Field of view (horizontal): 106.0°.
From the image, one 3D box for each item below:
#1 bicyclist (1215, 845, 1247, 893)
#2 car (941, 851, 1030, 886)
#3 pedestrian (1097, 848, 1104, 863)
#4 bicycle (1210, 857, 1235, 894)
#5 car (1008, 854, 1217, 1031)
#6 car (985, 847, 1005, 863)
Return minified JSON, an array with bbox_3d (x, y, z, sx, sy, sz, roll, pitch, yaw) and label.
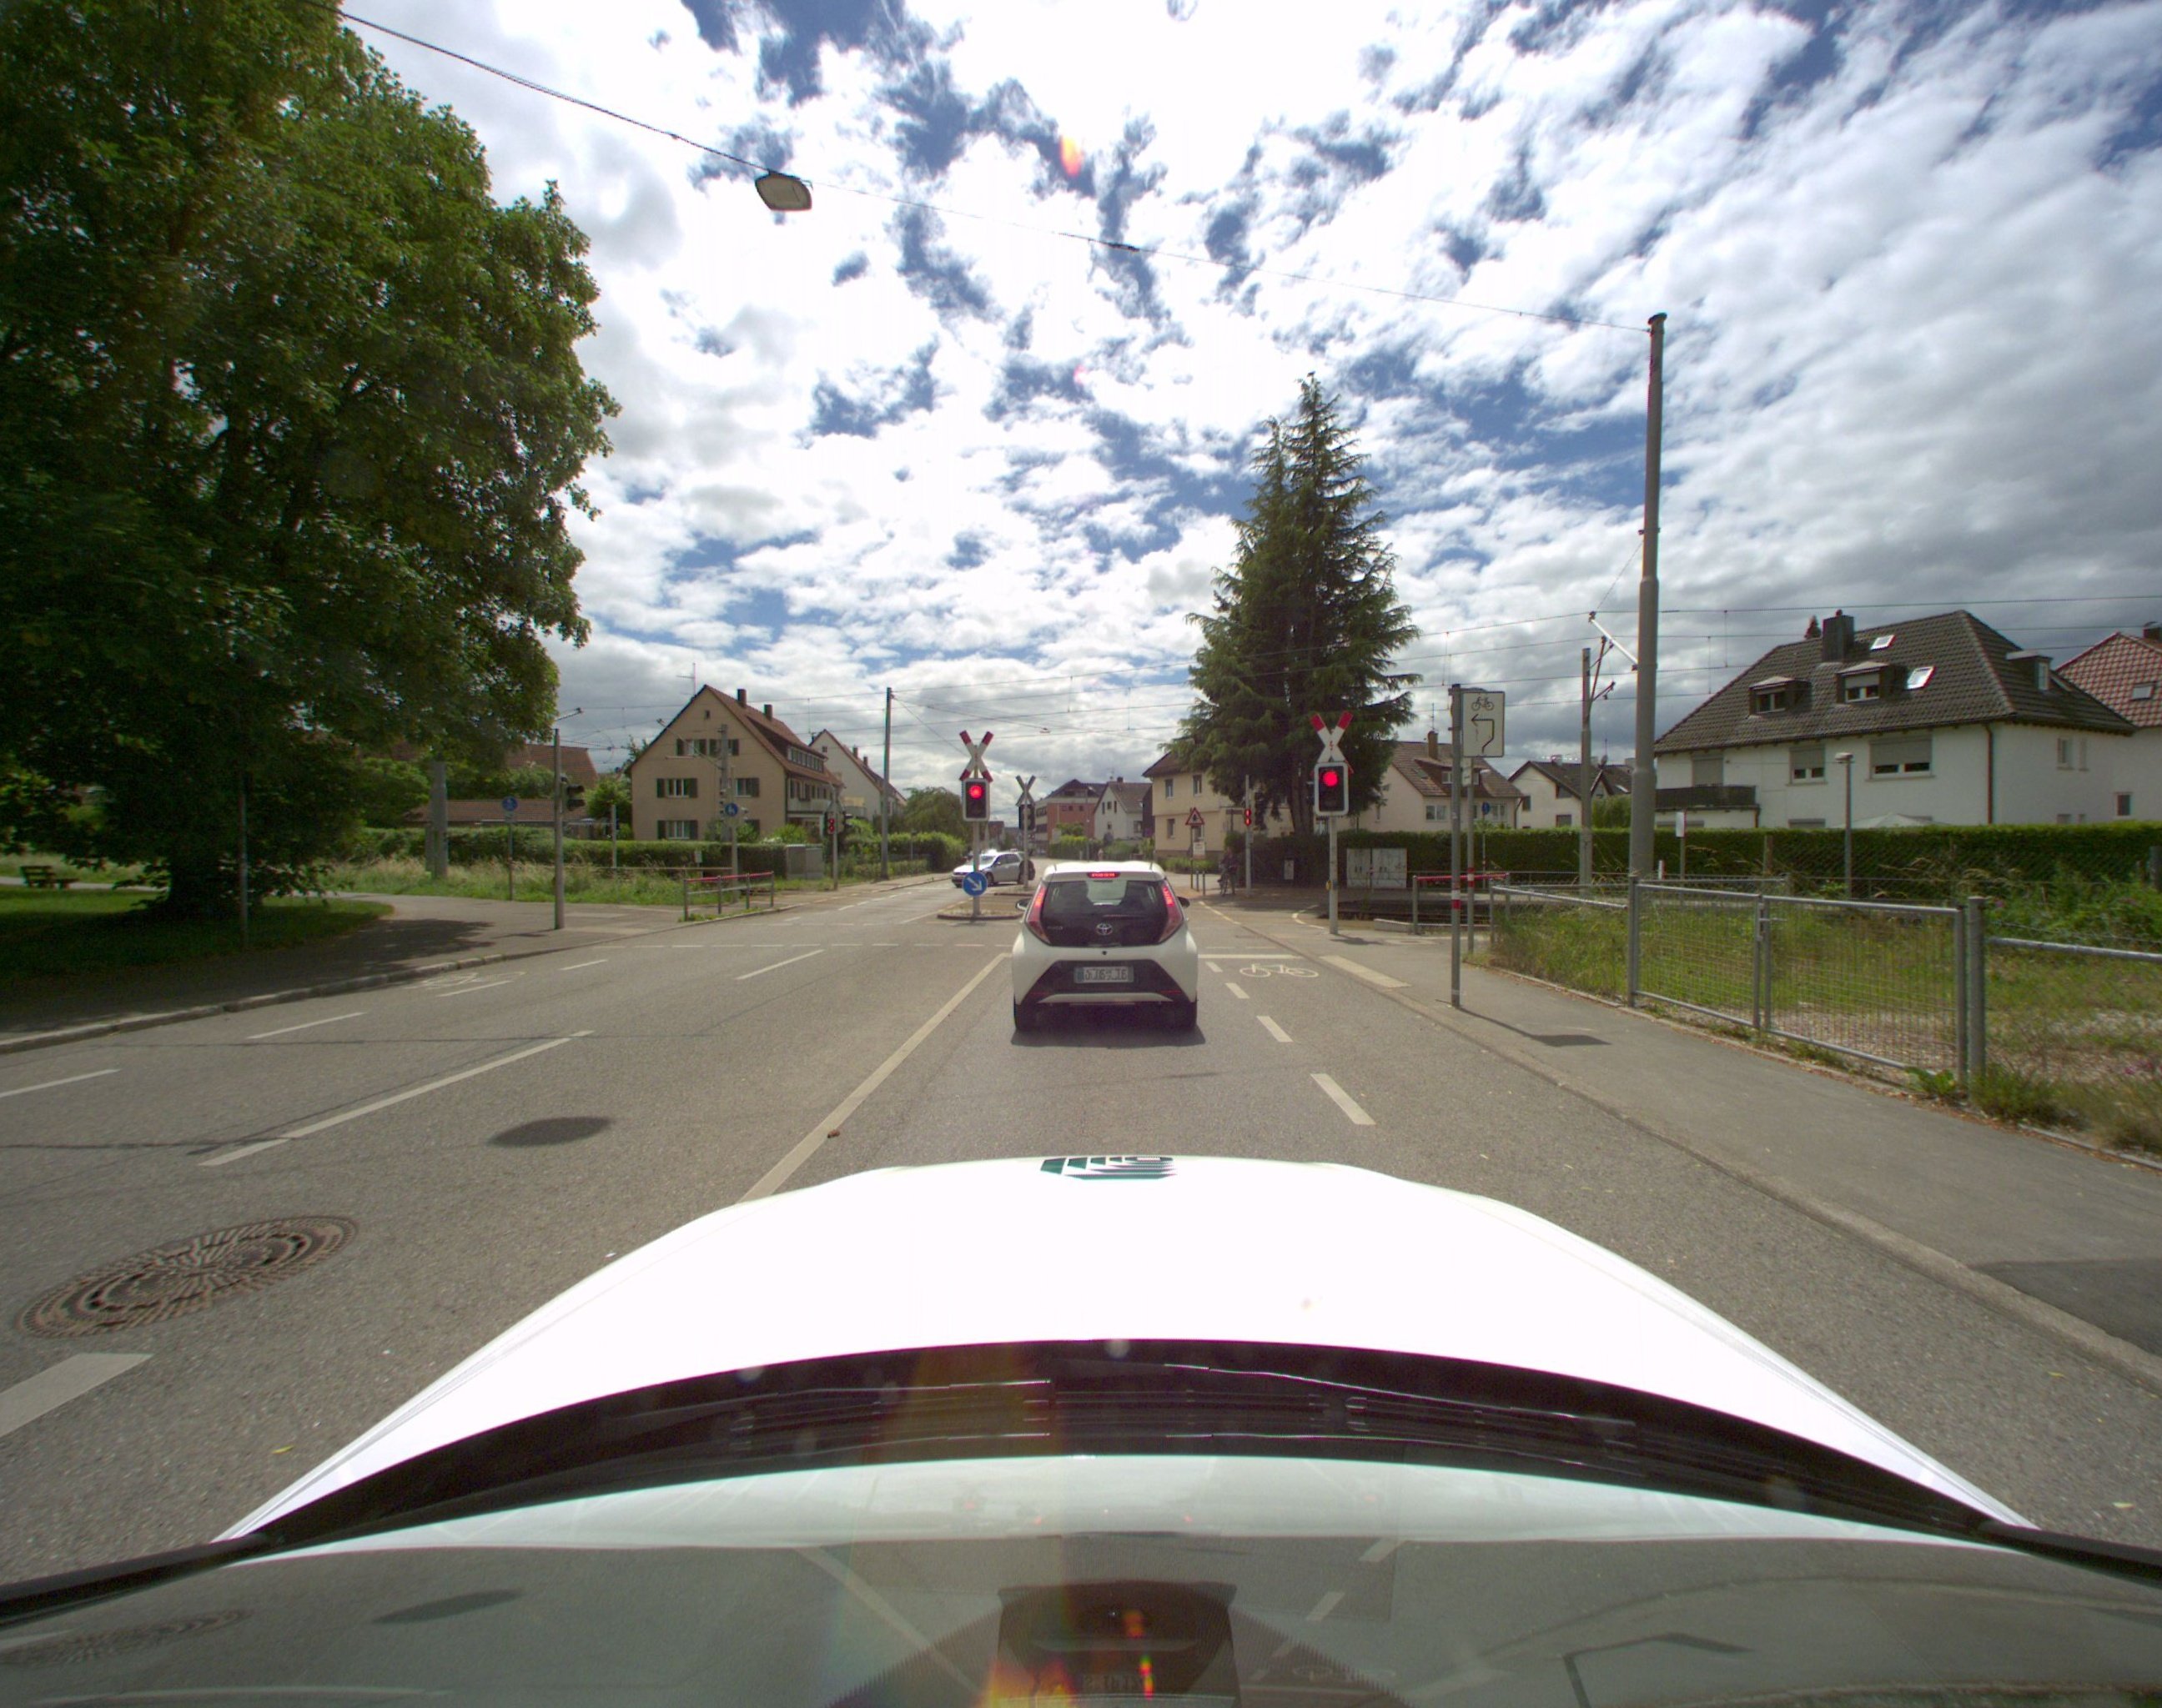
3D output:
[{"bbox_3d":[5.150,0.518,27.961,0.839,1.553,0.755,-3,2,-4],"label":"bicyclist"},{"bbox_3d":[-4.202,0.622,36.485,1.887,1.441,4.124,0,0,30],"label":"car"},{"bbox_3d":[2.203,0.180,90.291,0.723,1.576,0.804,1,0,1],"label":"pedestrian"},{"bbox_3d":[4.868,0.720,28.108,0.456,1.172,1.477,-3,2,-4],"label":"bicycle"},{"bbox_3d":[0.216,0.738,8.584,1.716,1.442,3.706,1,0,-2],"label":"car"},{"bbox_3d":[-9.223,0.105,87.858,1.990,1.719,3.994,1,0,-4],"label":"car"}]
